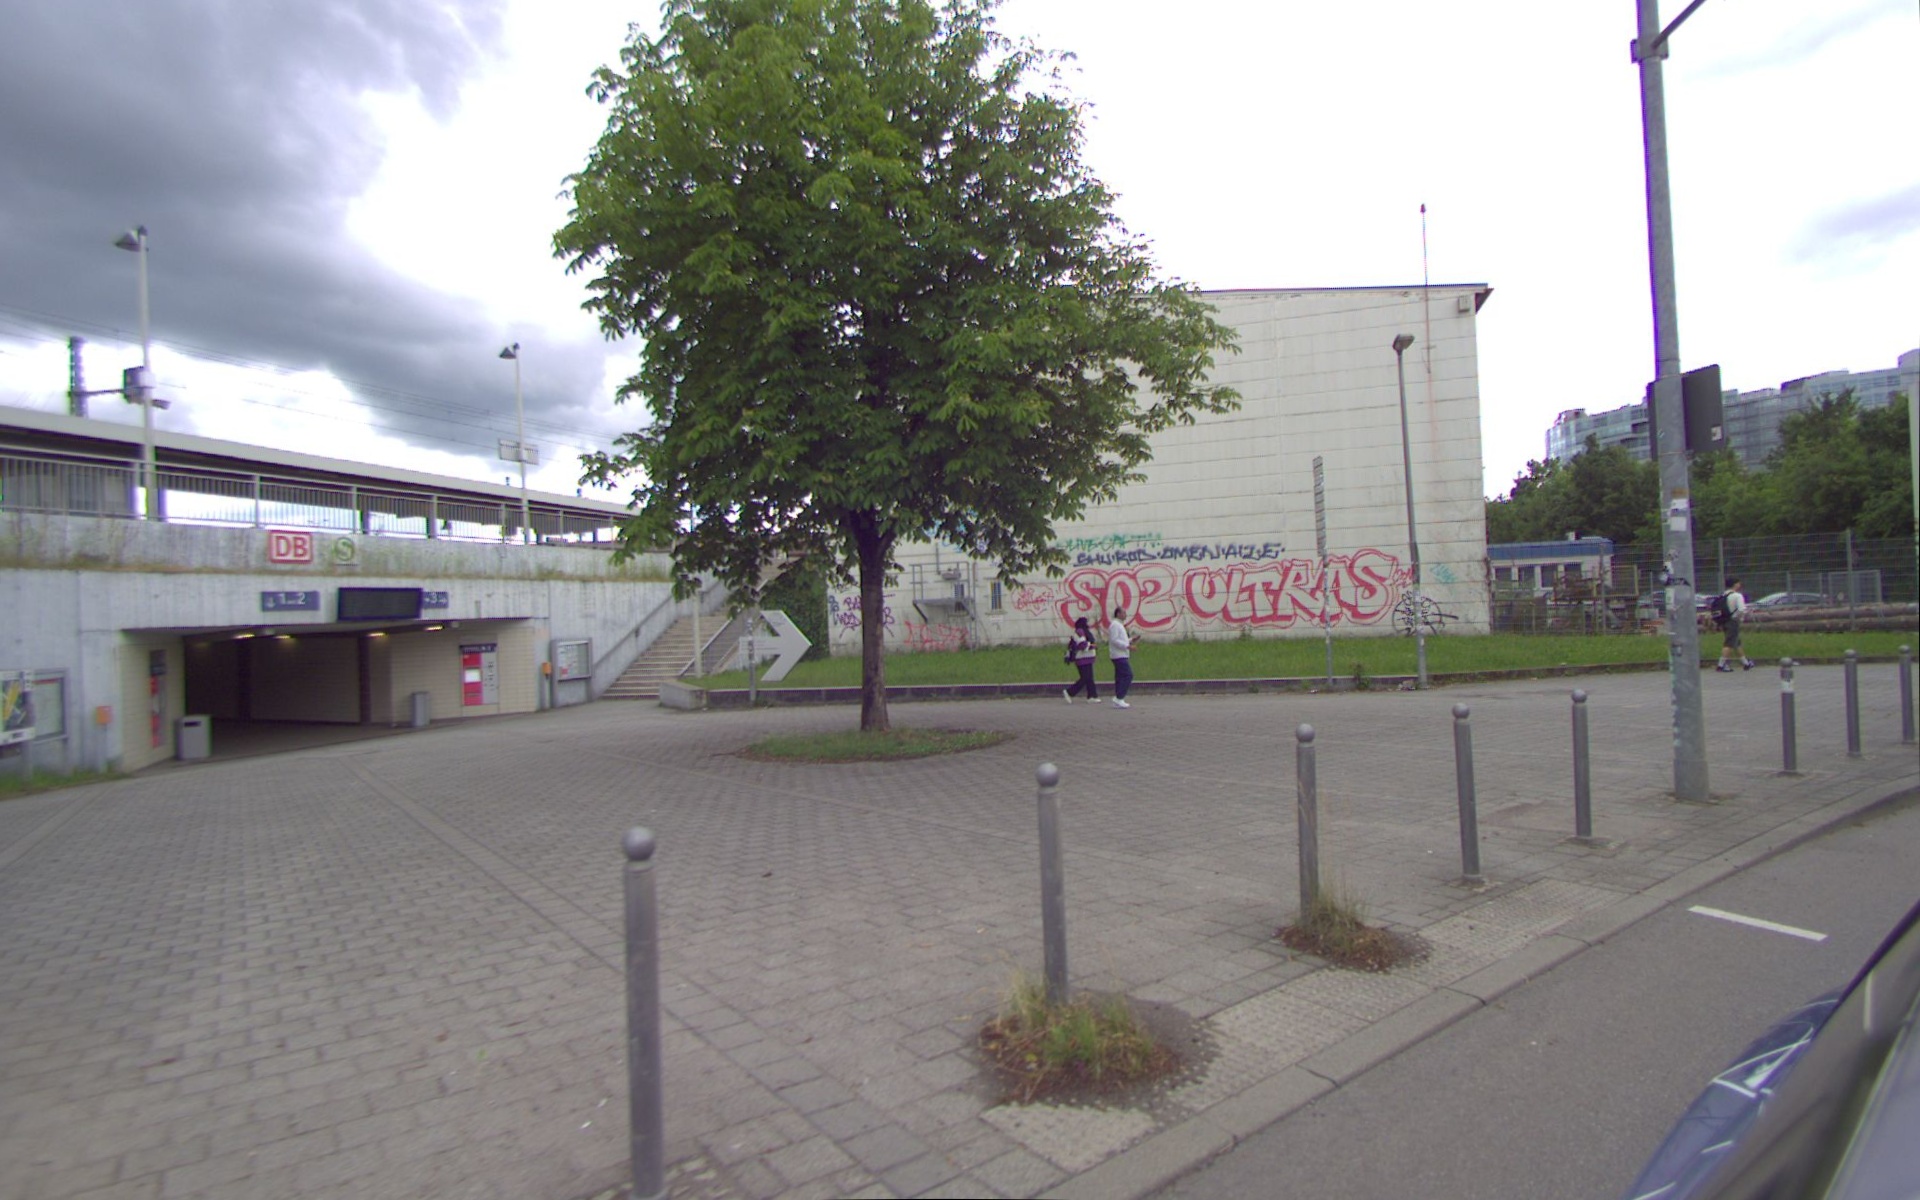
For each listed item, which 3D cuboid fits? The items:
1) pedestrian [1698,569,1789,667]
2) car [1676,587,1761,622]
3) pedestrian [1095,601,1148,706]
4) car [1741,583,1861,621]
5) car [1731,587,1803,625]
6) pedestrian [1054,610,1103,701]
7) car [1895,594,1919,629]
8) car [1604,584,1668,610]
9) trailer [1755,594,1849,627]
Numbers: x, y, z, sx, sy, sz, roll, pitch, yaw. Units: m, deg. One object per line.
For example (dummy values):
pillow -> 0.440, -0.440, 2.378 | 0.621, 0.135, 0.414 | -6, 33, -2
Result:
pedestrian -> 14.320, 0.311, 18.515 | 0.922, 1.705, 0.851 | -3, 0, 0
car -> 32.996, 0.169, 44.132 | 1.783, 1.394, 3.775 | -2, 0, 18
pedestrian -> 2.770, 0.904, 17.419 | 0.735, 1.724, 0.816 | -3, 0, 4
car -> 37.357, 0.065, 45.035 | 3.755, 1.550, 1.559 | 1, 2, 14
car -> 32.212, 0.202, 40.481 | 1.354, 1.458, 2.837 | 0, 0, 19
pedestrian -> 2.187, 1.010, 18.739 | 0.787, 1.603, 0.801 | -3, 0, 4
car -> 36.789, 0.453, 37.112 | 3.321, 1.268, 1.465 | 1, 1, 14
car -> 36.884, -0.174, 55.308 | 1.505, 1.348, 3.674 | 0, 0, 9
trailer -> 31.421, 0.374, 37.860 | 1.825, 1.152, 2.624 | -1, 0, 18
